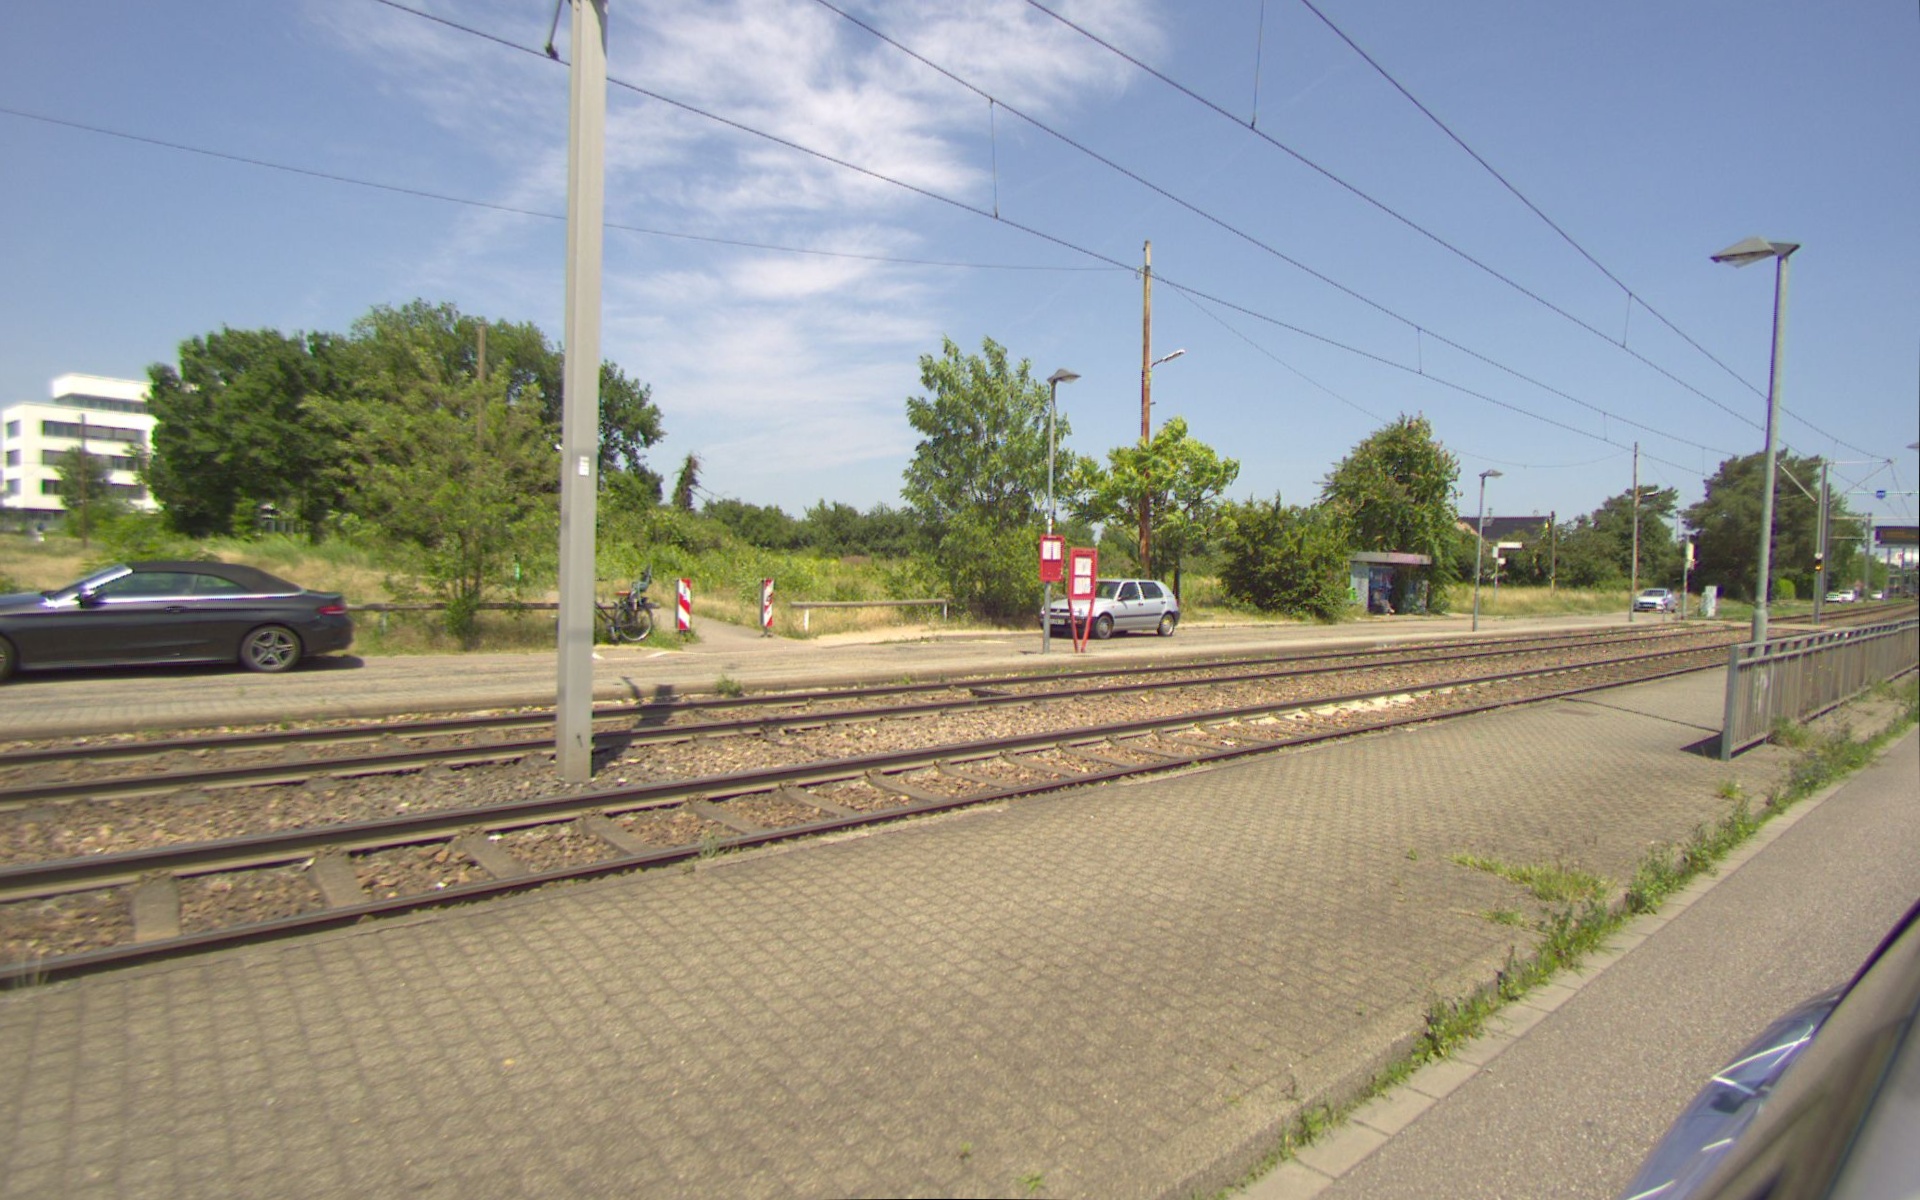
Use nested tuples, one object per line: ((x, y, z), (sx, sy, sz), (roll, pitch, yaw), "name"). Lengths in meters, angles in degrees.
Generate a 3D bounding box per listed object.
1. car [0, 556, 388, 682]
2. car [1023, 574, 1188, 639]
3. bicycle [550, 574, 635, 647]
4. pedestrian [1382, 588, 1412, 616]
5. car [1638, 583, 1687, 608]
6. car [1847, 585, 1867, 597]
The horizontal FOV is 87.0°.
((-10.293, 0.184, 13.140), (4.788, 1.440, 1.623), (-1, 2, -41), "car")
((3.611, 0.113, 24.772), (3.931, 1.440, 1.942), (-1, 2, -42), "car")
((-6.946, 0.172, 19.228), (0.693, 1.284, 1.674), (2, 2, 14), "bicycle")
((17.306, 0.077, 40.106), (0.705, 1.100, 0.812), (0, 1, -34), "pedestrian")
((43.337, -0.301, 62.397), (3.934, 1.507, 1.715), (-1, 2, -43), "car")
((136.901, -1.423, 154.431), (4.512, 1.849, 1.860), (-1, 2, -44), "car")
